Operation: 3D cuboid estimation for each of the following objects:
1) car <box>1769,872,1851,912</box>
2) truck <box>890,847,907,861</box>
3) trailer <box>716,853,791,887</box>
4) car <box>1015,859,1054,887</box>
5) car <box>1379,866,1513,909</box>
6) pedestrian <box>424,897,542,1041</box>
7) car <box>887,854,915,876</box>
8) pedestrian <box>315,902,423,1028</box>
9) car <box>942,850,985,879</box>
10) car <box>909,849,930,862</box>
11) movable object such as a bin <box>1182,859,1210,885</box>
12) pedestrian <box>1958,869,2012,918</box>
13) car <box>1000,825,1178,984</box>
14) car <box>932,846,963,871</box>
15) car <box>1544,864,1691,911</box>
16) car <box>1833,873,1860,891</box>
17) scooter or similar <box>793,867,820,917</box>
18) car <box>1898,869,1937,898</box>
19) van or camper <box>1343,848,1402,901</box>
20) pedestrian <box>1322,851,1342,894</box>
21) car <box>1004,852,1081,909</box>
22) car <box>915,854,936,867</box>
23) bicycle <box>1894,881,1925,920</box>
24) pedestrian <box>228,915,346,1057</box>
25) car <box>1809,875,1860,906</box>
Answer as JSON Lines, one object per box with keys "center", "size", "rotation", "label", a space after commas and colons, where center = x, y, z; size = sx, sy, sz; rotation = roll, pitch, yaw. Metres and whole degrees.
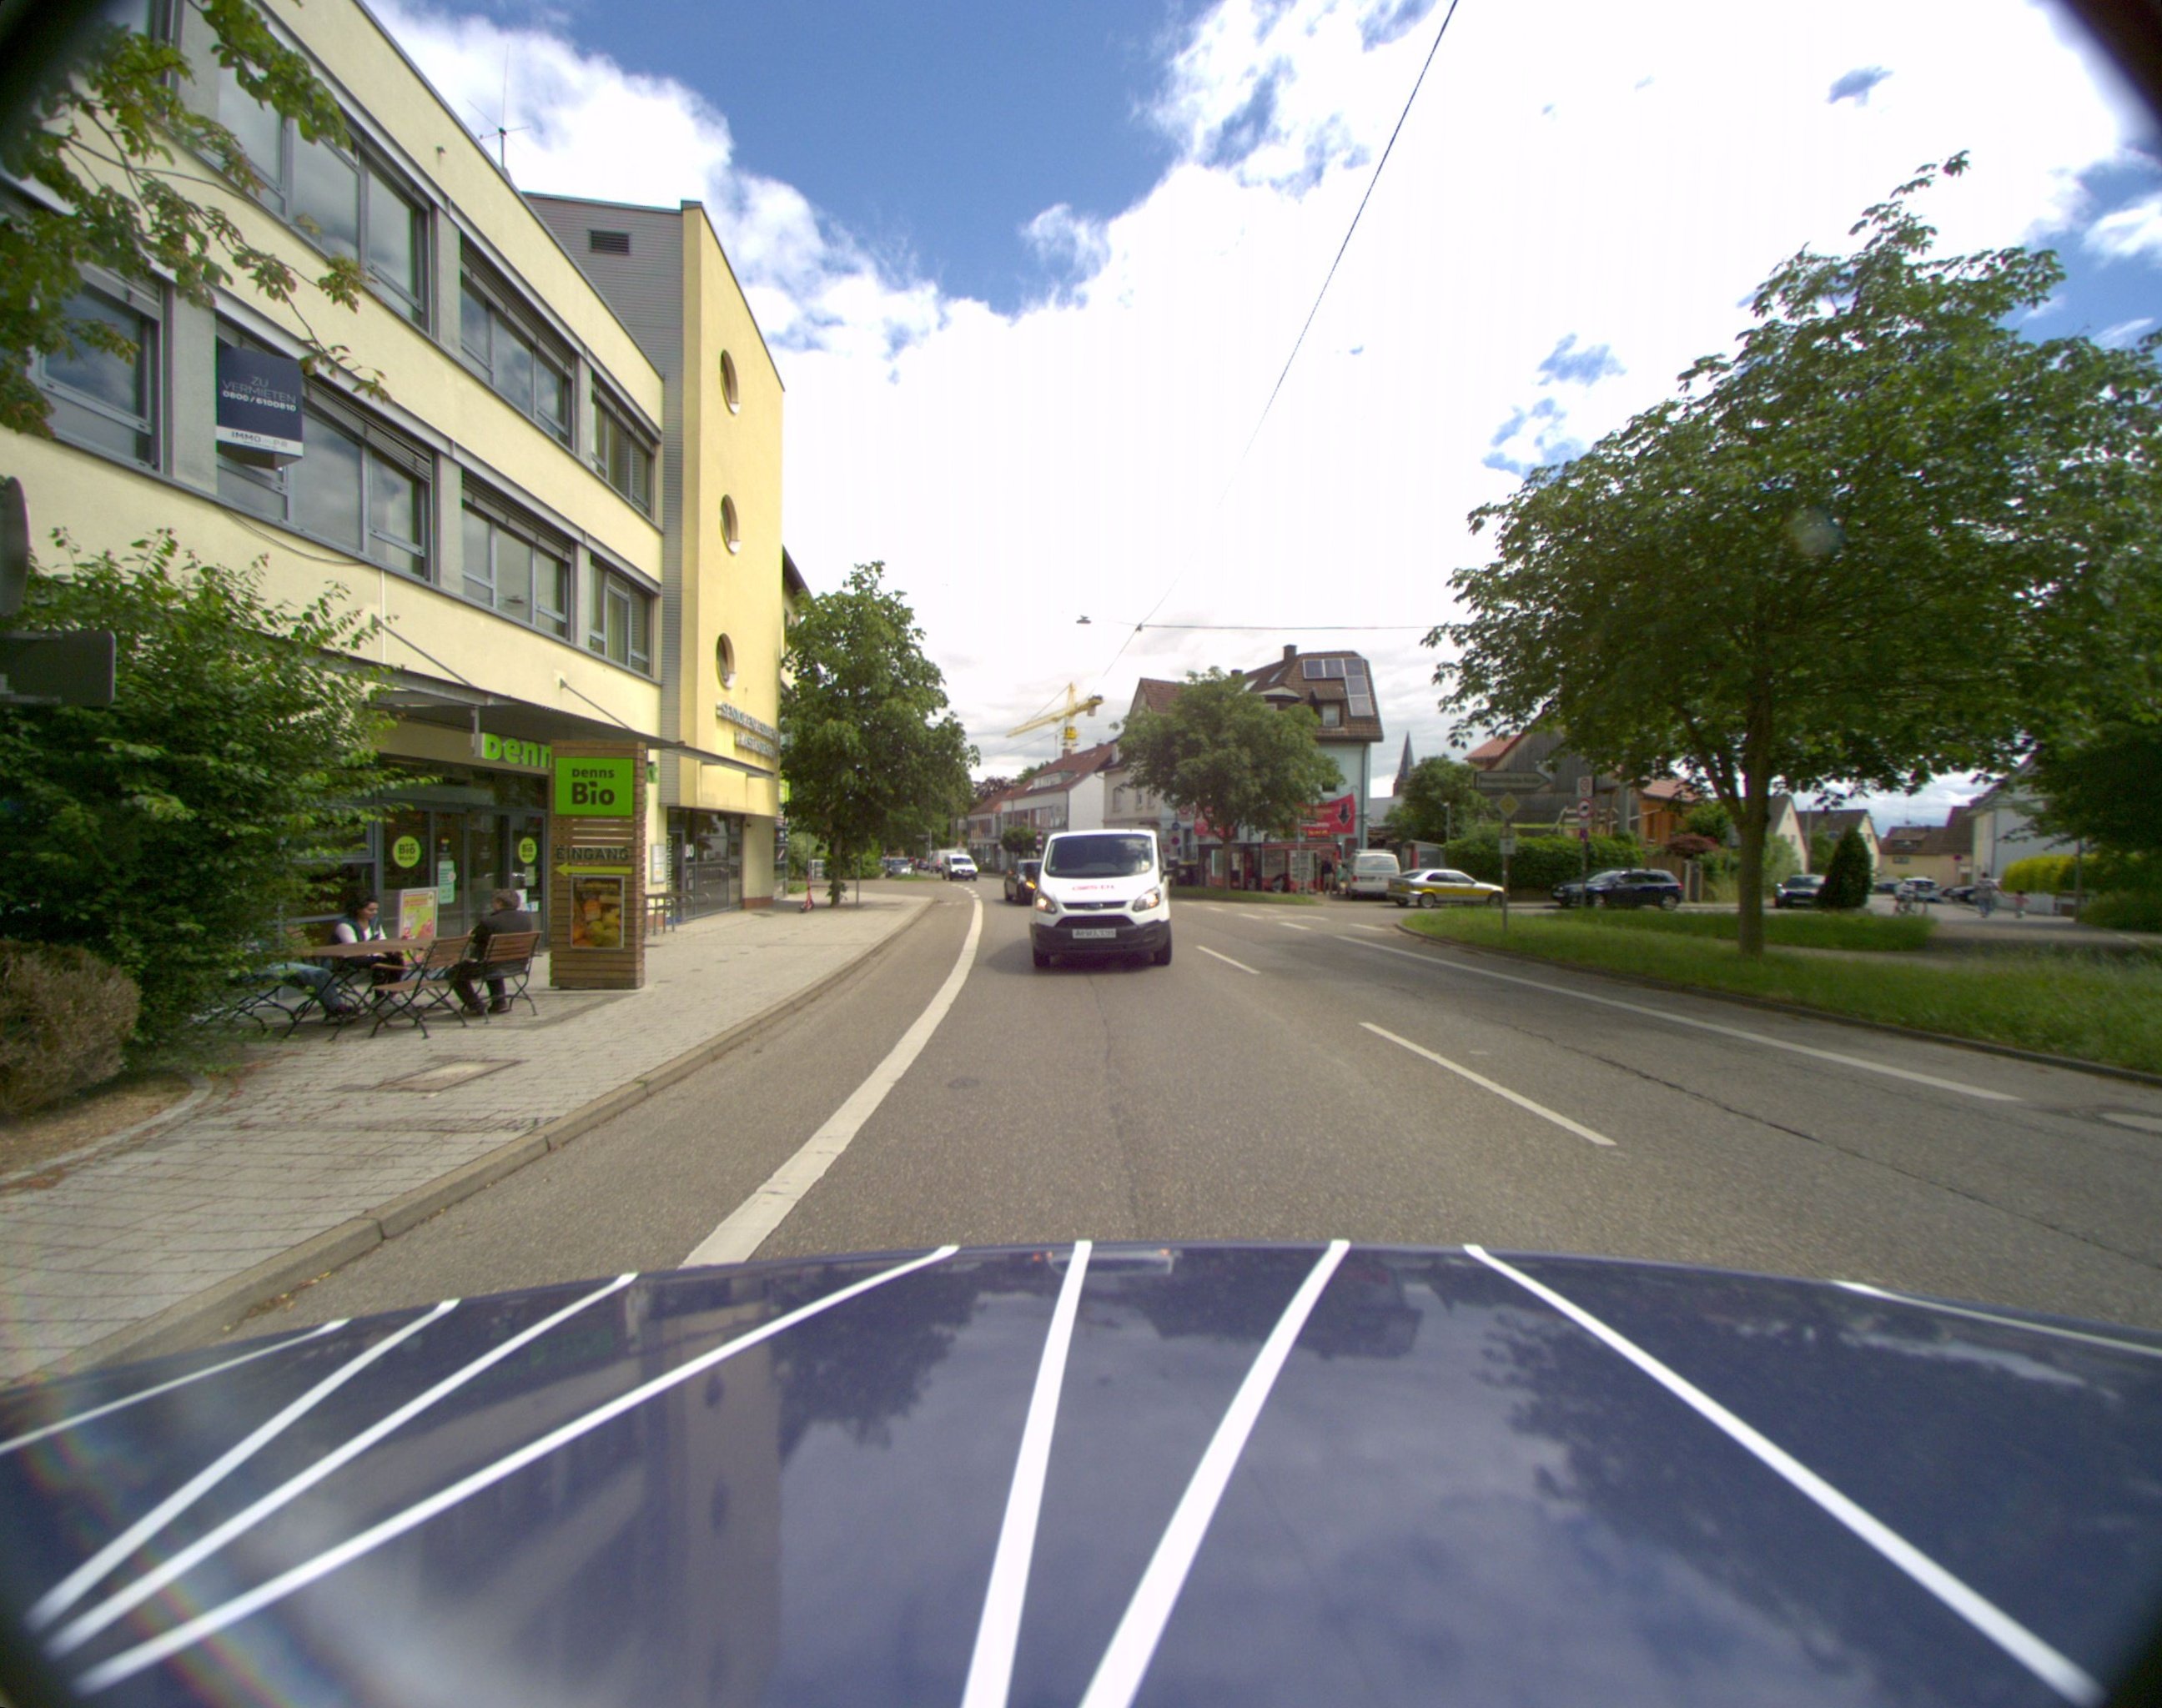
{"center": [29.913, 1.514, 31.161], "size": [3.784, 1.315, 1.589], "rotation": [-1, 3, -33], "label": "car"}
{"center": [-34.380, -0.080, 142.904], "size": [2.315, 2.406, 6.081], "rotation": [-1, 2, -20], "label": "truck"}
{"center": [-16.337, 0.810, 38.014], "size": [3.169, 1.572, 1.392], "rotation": [2, 0, -8], "label": "trailer"}
{"center": [-2.944, 1.143, 47.415], "size": [1.693, 1.473, 4.221], "rotation": [4, 0, -12], "label": "car"}
{"center": [13.144, 1.167, 27.489], "size": [4.030, 1.405, 1.814], "rotation": [0, 2, -9], "label": "car"}
{"center": [-5.908, 1.110, 7.534], "size": [0.689, 1.309, 0.579], "rotation": [0, 2, 12], "label": "pedestrian"}
{"center": [-14.355, 0.889, 60.319], "size": [1.697, 1.656, 4.455], "rotation": [1, -1, -19], "label": "car"}
{"center": [-7.239, 1.114, 7.749], "size": [0.578, 1.197, 0.503], "rotation": [0, 2, -4], "label": "pedestrian"}
{"center": [-8.132, 0.695, 52.253], "size": [1.969, 1.797, 4.420], "rotation": [-1, 2, -21], "label": "car"}
{"center": [-20.871, 0.171, 98.058], "size": [1.784, 1.514, 4.453], "rotation": [1, 1, -22], "label": "car"}
{"center": [6.281, 0.979, 41.499], "size": [1.024, 1.347, 1.244], "rotation": [-1, 2, -22], "label": "movable object such as a bin"}
{"center": [29.938, 1.302, 25.179], "size": [0.736, 1.584, 0.814], "rotation": [0, -3, -7], "label": "pedestrian"}
{"center": [0.418, 0.652, 12.279], "size": [2.105, 1.982, 5.233], "rotation": [-2, 0, 9], "label": "car"}
{"center": [-13.562, 0.461, 77.021], "size": [2.072, 2.339, 5.173], "rotation": [3, -1, -21], "label": "car"}
{"center": [19.035, 1.163, 27.079], "size": [4.000, 1.540, 1.814], "rotation": [0, 3, -4], "label": "car"}
{"center": [73.603, 2.674, 73.073], "size": [3.635, 1.549, 1.589], "rotation": [-2, 3, -42], "label": "car"}
{"center": [-7.707, 1.048, 21.365], "size": [0.382, 1.309, 1.457], "rotation": [-1, 2, -8], "label": "scooter or similar"}
{"center": [53.772, 1.864, 48.851], "size": [3.635, 1.549, 1.589], "rotation": [-2, 3, -42], "label": "car"}
{"center": [12.131, 0.778, 31.880], "size": [1.787, 1.982, 4.383], "rotation": [1, 1, 15], "label": "van or camper"}
{"center": [11.223, 0.801, 33.931], "size": [0.626, 1.885, 0.563], "rotation": [-1, 2, -32], "label": "pedestrian"}
{"center": [-1.409, 0.810, 25.675], "size": [1.810, 1.619, 4.681], "rotation": [-3, 1, -12], "label": "car"}
{"center": [-18.236, 0.744, 88.999], "size": [1.778, 1.417, 4.101], "rotation": [3, 0, -21], "label": "car"}
{"center": [21.466, 1.187, 19.703], "size": [2.230, 0.855, 0.462], "rotation": [-2, 2, -44], "label": "bicycle"}
{"center": [-7.192, 1.173, 6.908], "size": [0.523, 1.175, 0.501], "rotation": [-1, 2, -15], "label": "pedestrian"}
{"center": [39.665, 1.902, 39.990], "size": [3.785, 1.315, 1.589], "rotation": [-2, 3, -41], "label": "car"}
